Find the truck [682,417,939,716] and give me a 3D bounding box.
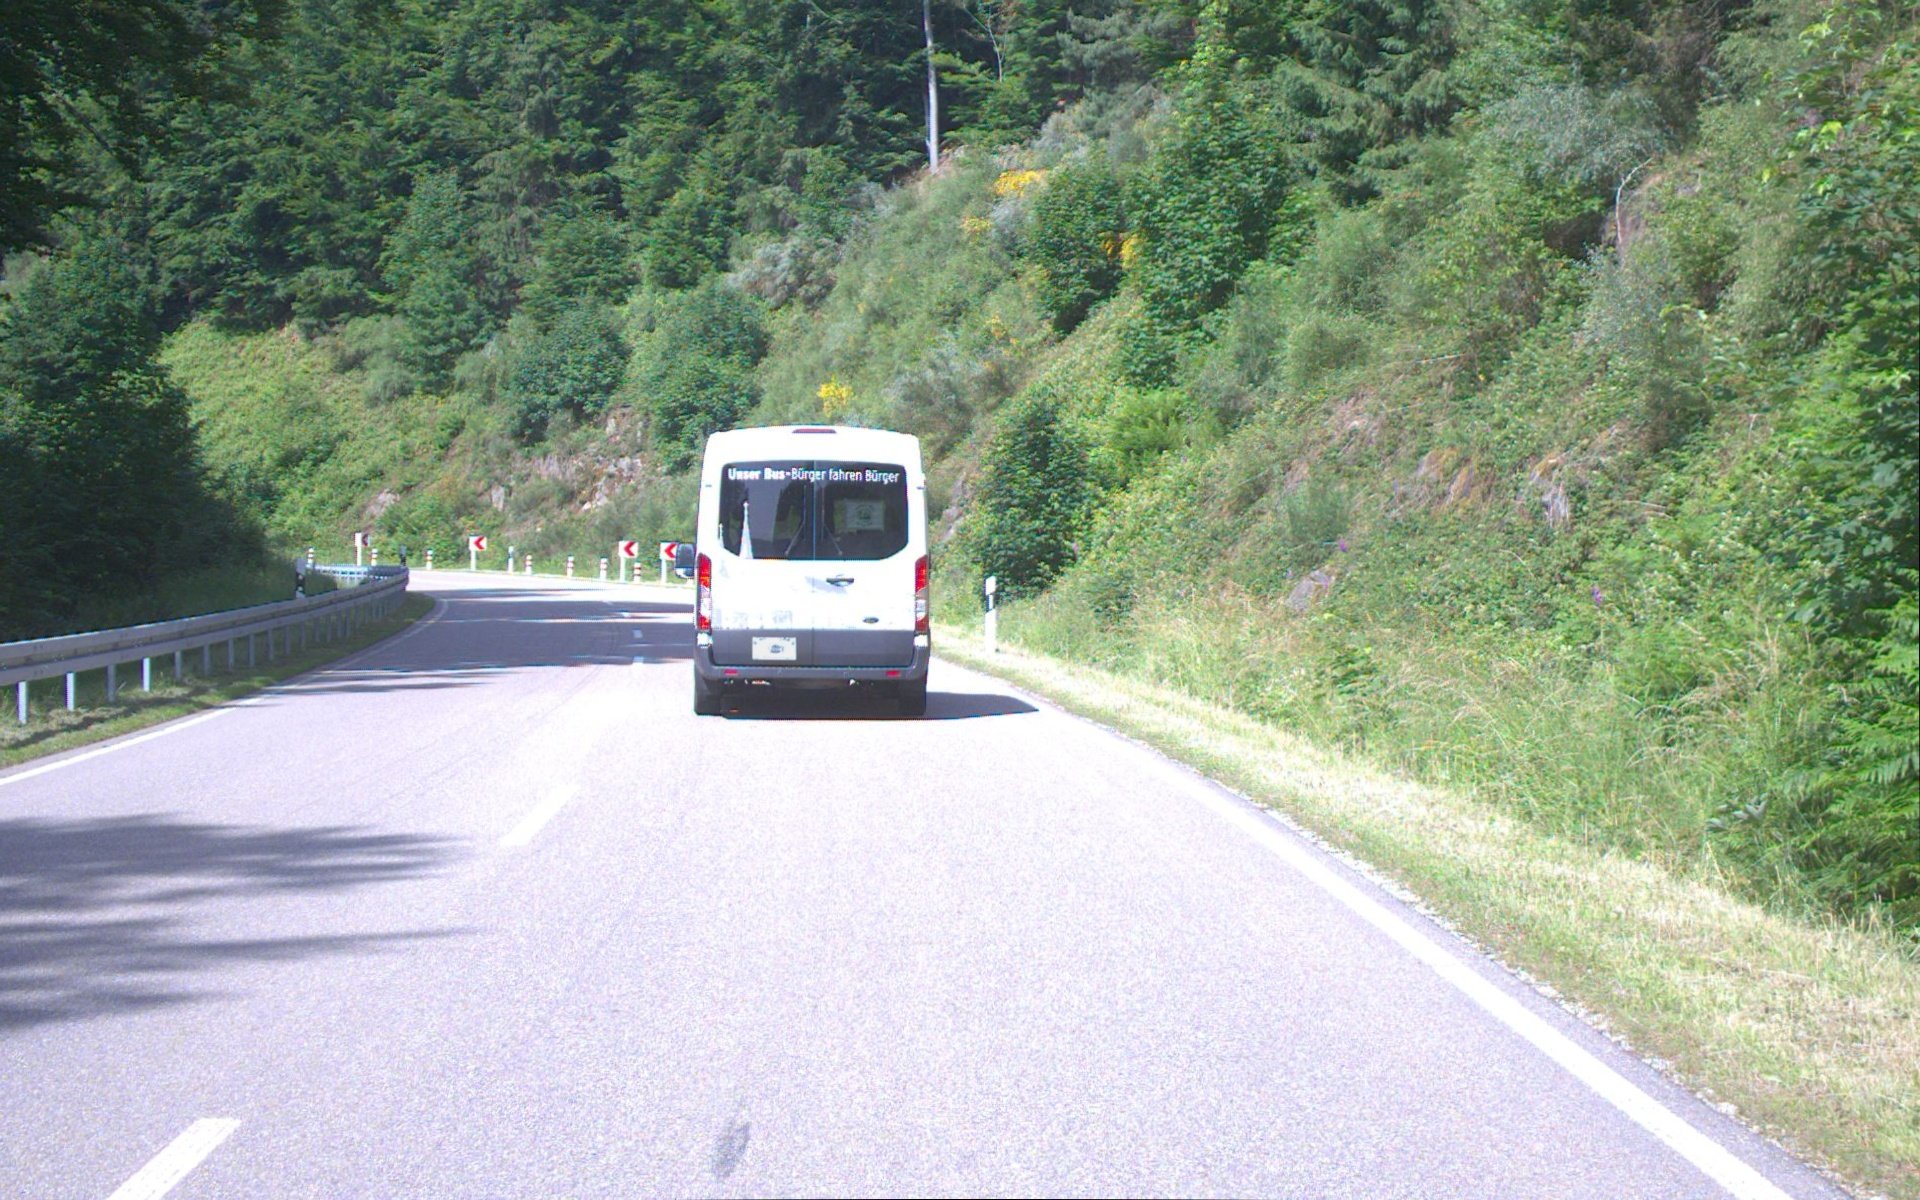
[{"bbox_3d":[-1.428,-0.303,30.736,2.083,2.451,4.876,0,1,-5],"label":"truck"}]
